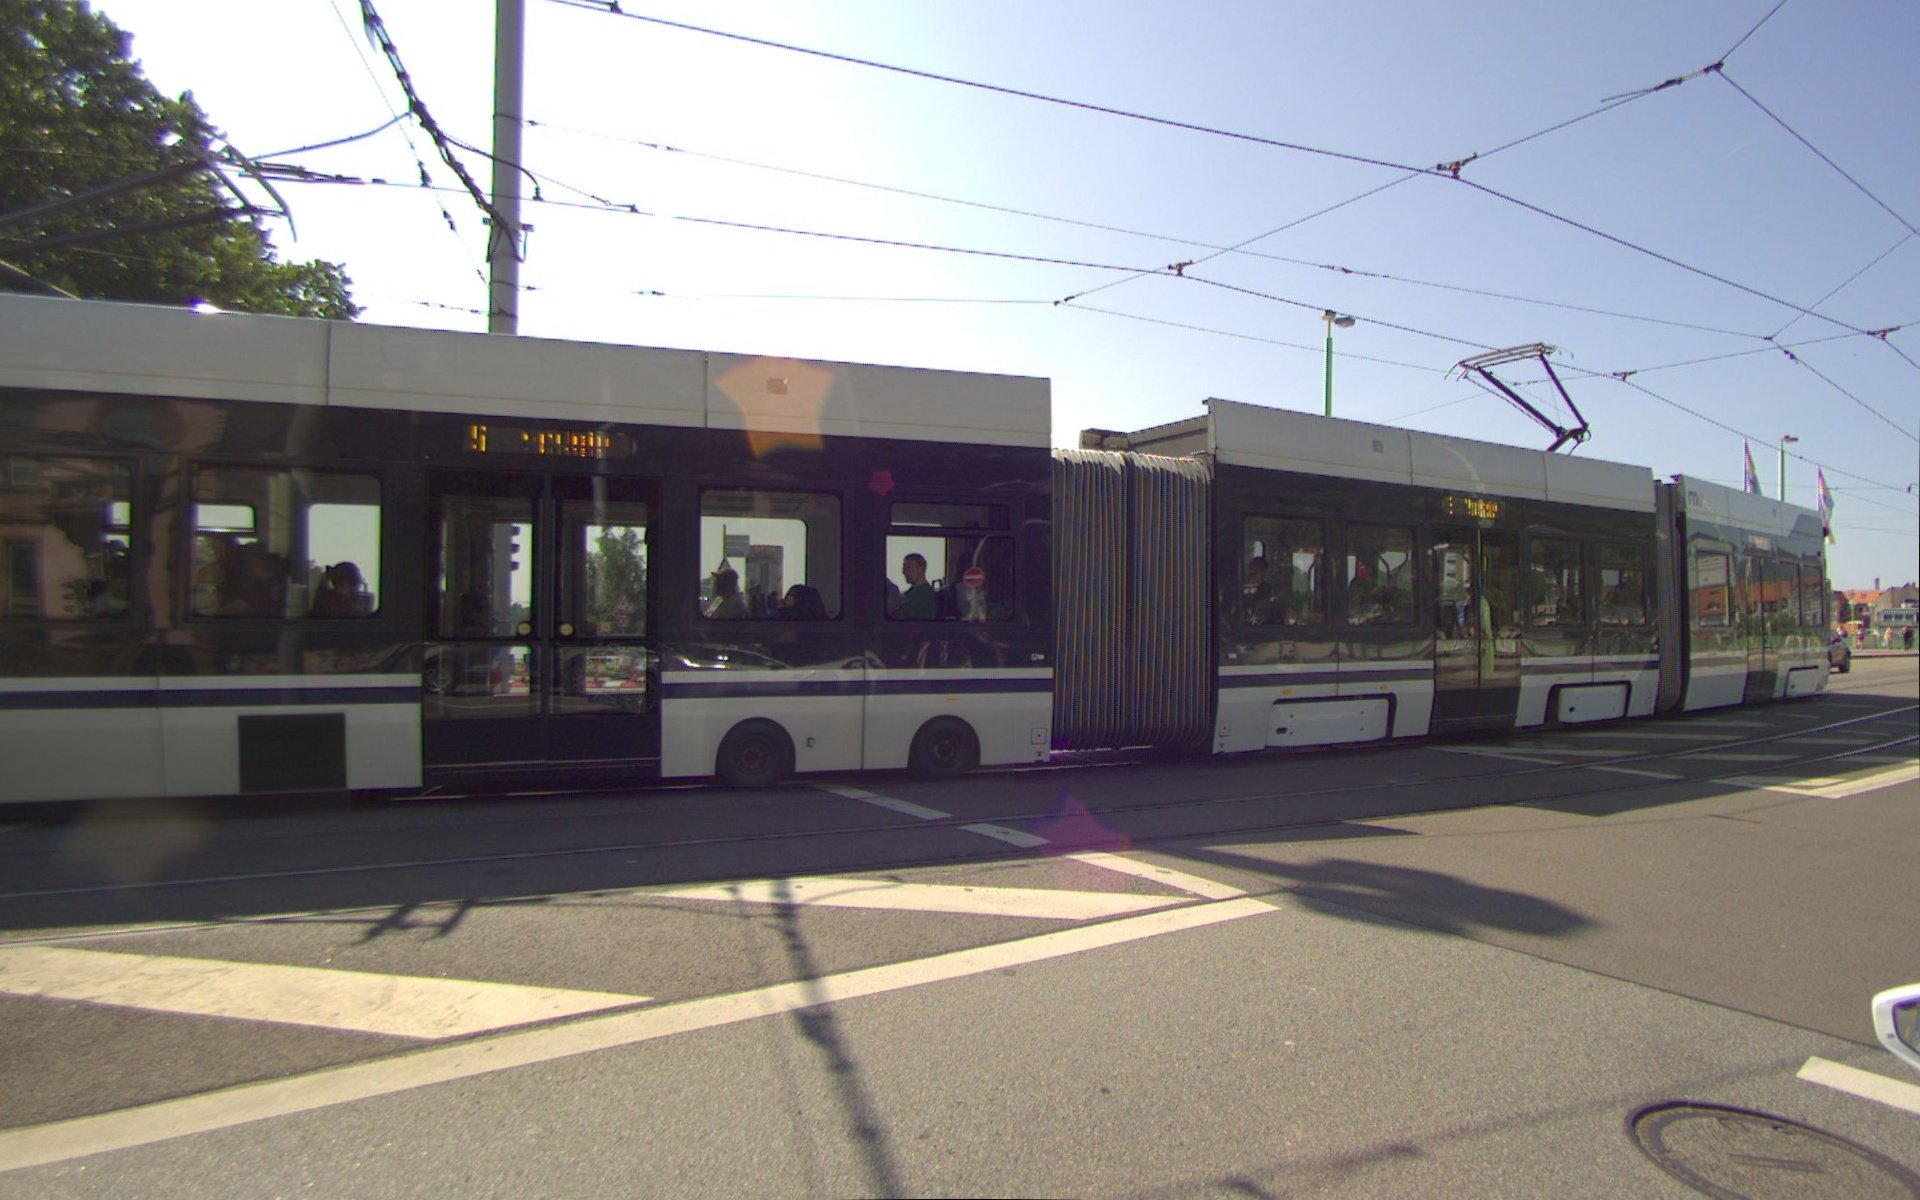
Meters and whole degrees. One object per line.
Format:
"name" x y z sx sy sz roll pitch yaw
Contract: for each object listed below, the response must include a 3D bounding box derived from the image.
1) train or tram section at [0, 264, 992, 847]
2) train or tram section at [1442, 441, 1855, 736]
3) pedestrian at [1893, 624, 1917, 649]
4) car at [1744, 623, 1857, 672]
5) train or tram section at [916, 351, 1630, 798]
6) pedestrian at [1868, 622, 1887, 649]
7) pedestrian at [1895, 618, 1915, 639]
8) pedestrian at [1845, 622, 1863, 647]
"train or tram section" -4.388 -0.260 8.544 9.023 3.827 2.536 0 -1 -18
"train or tram section" 12.590 -0.066 17.598 11.741 3.827 2.452 1 -1 -38
"pedestrian" 71.121 2.739 75.604 1.284 1.782 1.088 0 2 -39
"car" 28.125 1.573 33.579 4.149 1.535 1.980 2 -2 -36
"train or tram section" 4.202 -0.153 11.881 9.509 3.730 2.392 1 -1 -31
"pedestrian" 69.724 2.677 76.317 1.093 2.040 0.960 1 -1 -42
"pedestrian" 79.187 2.367 84.181 1.284 1.752 1.088 1 0 -40
"pedestrian" 63.566 2.474 71.413 1.166 1.745 0.748 2 -1 -39
